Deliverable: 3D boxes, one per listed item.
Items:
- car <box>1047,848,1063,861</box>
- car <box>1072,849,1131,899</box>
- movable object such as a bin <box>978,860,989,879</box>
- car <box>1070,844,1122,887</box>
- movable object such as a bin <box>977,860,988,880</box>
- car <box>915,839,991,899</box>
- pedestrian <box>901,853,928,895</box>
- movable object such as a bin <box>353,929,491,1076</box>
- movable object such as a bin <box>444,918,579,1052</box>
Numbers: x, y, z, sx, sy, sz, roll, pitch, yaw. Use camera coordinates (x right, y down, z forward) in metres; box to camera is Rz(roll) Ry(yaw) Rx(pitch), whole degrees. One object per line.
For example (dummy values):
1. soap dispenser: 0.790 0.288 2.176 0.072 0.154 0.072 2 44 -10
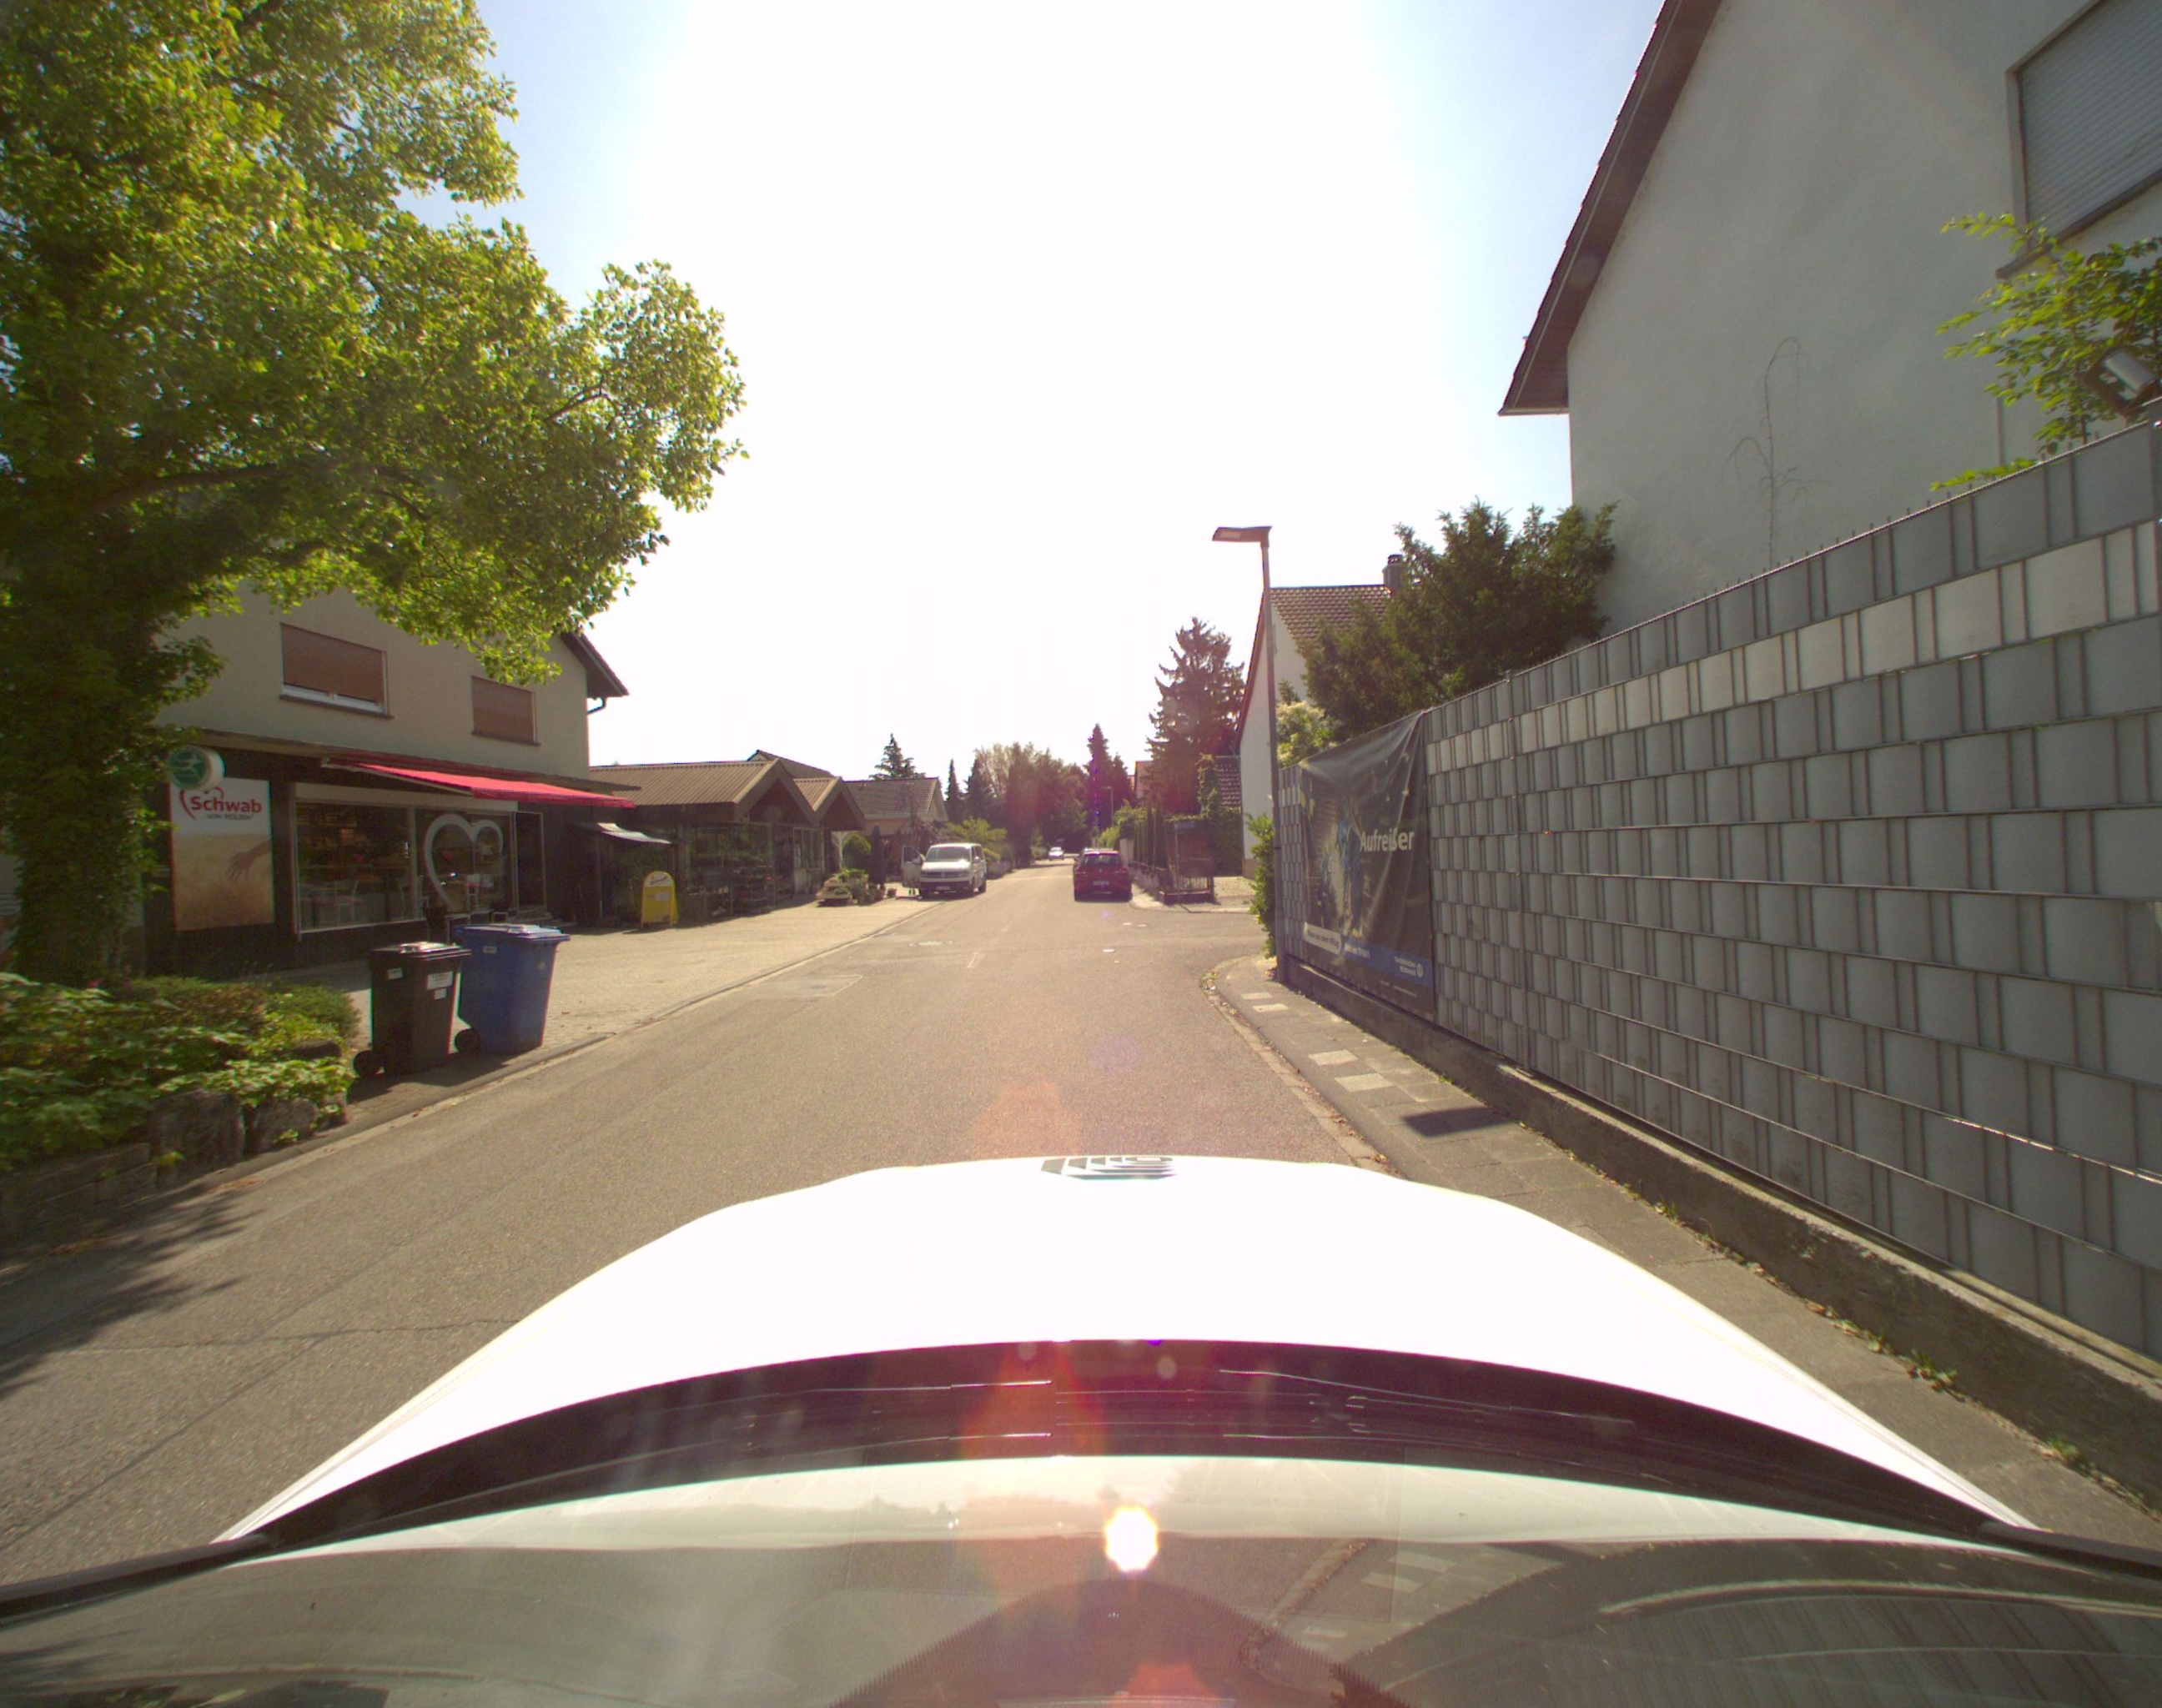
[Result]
1. car: -3.072 0.076 96.653 1.747 1.487 4.376 -2 0 1
2. car: 0.716 0.586 26.541 1.768 1.479 4.003 0 0 3
3. movable object such as a bin: -5.307 0.858 44.461 0.492 1.024 0.447 -2 0 0
4. car: 0.551 0.435 33.398 1.818 1.615 3.996 -1 0 -3
5. movable object such as a bin: -5.307 0.869 43.999 0.492 1.024 0.447 -2 0 0
6. car: -4.721 0.495 30.832 1.922 2.013 4.897 -2 0 1
7. pedestrian: -6.305 0.753 30.866 0.710 1.538 0.646 -1 1 33
8. movable object such as a bin: -5.087 1.128 6.315 0.581 1.024 0.568 -1 0 0
9. movable object such as a bin: -4.959 1.122 7.125 0.728 1.054 0.612 -1 0 -1
